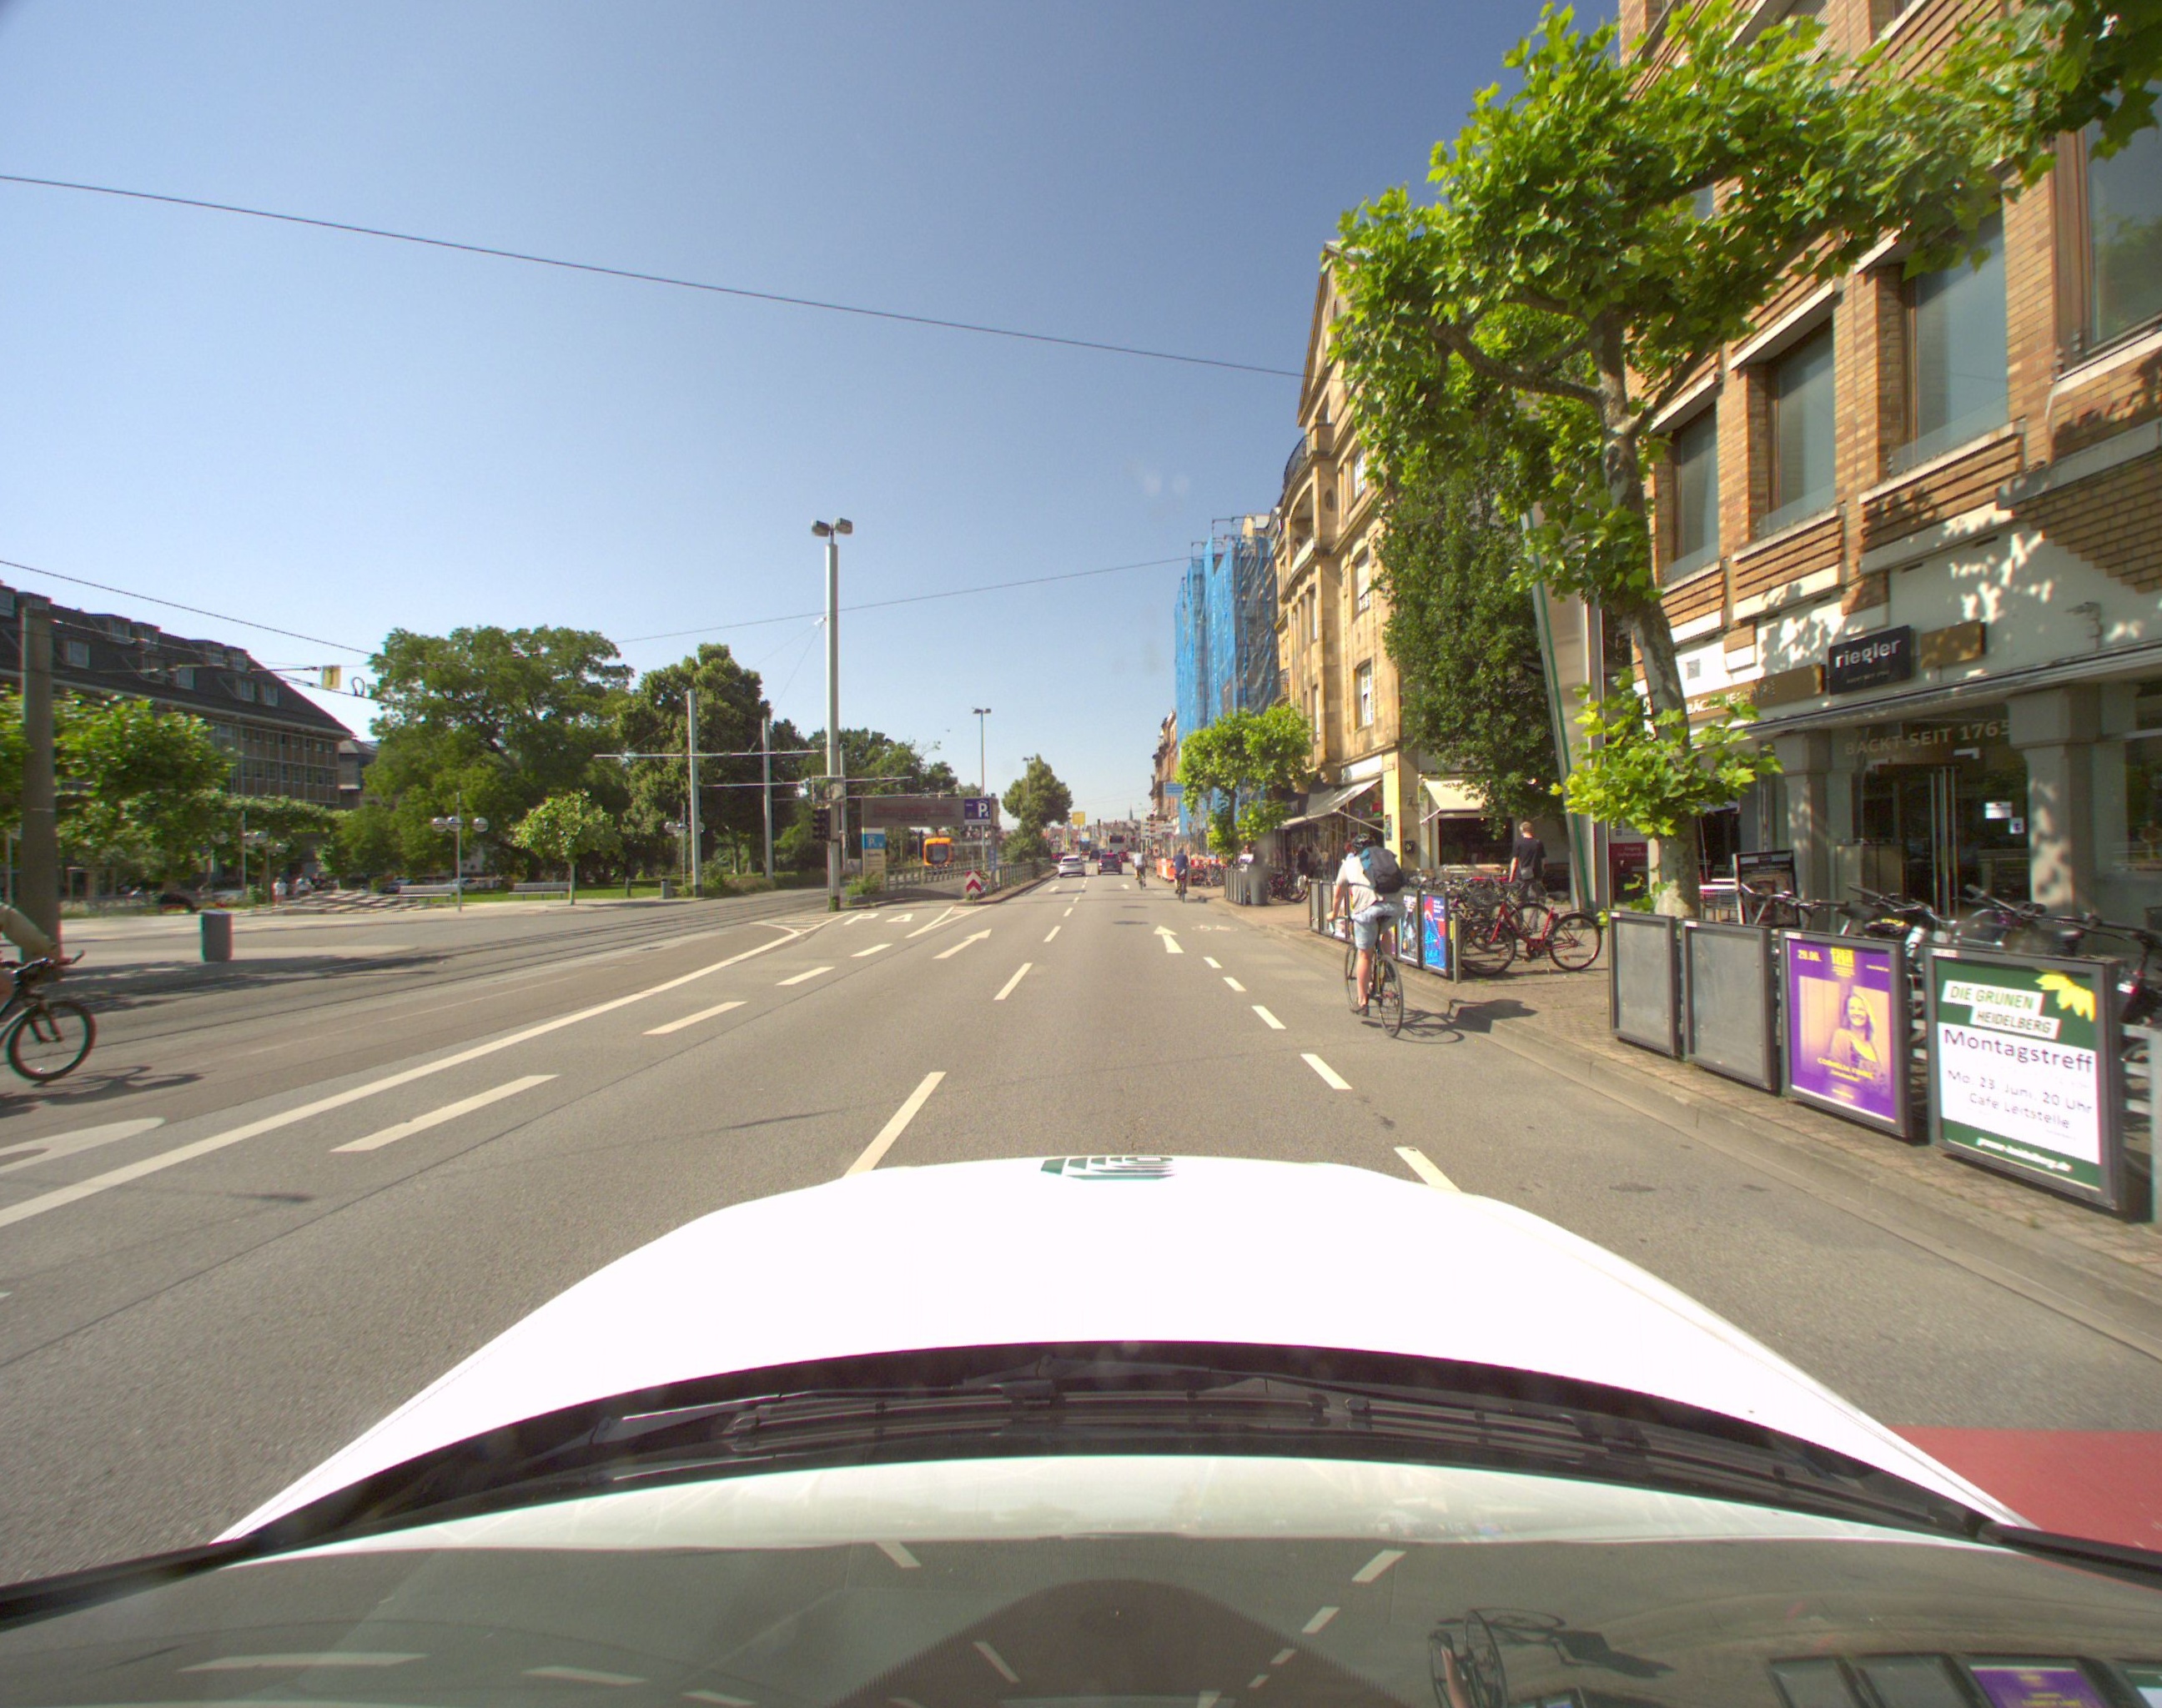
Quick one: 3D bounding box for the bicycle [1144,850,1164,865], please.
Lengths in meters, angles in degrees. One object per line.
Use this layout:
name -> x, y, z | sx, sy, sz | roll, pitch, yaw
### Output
bicycle -> 6.434, 0.312, 71.662 | 1.687, 1.241, 0.609 | 0, 0, 1

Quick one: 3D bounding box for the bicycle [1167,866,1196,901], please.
bicycle -> 3.284, 0.945, 26.689 | 0.731, 1.093, 1.911 | 0, 0, 0

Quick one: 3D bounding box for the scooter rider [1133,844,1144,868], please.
scooter rider -> 4.090, 0.134, 58.131 | 0.686, 1.729, 0.778 | 0, 0, 0

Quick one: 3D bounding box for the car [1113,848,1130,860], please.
car -> 5.022, 0.024, 100.691 | 1.985, 1.492, 4.003 | 0, 0, 2

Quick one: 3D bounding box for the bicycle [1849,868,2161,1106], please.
bicycle -> 5.193, 0.672, 4.340 | 1.747, 1.147, 0.483 | -1, 0, -1

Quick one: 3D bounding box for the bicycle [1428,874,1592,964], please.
bicycle -> 5.212, 0.779, 9.941 | 1.747, 1.018, 0.483 | -1, 0, -1

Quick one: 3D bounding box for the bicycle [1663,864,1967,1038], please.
bicycle -> 5.218, 0.668, 5.835 | 1.747, 1.147, 0.483 | -1, 0, -1

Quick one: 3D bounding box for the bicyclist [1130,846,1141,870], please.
bicyclist -> 3.665, 0.240, 54.529 | 0.686, 1.576, 1.049 | 0, 0, 0

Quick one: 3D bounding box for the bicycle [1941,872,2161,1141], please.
bicycle -> 5.177, 0.668, 3.836 | 1.747, 1.147, 0.483 | -1, 0, -1

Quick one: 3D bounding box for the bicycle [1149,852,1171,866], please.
bicycle -> 6.520, 0.392, 67.215 | 1.764, 1.178, 0.609 | 0, 0, 1

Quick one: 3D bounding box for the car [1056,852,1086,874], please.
car -> -0.670, 0.614, 56.922 | 1.851, 1.507, 4.003 | 0, 0, 2

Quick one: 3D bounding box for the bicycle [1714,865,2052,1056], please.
bicycle -> 5.207, 0.669, 5.337 | 1.747, 1.147, 0.483 | -1, 0, -1

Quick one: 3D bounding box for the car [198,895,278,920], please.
car -> -60.307, 3.790, 58.363 | 1.752, 1.508, 3.994 | 0, 0, -4

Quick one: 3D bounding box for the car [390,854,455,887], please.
car -> -67.017, 1.632, 83.068 | 2.119, 3.316, 5.421 | 0, 0, 1

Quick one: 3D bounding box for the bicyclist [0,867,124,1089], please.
bicyclist -> -8.446, 0.956, 6.315 | 0.814, 1.621, 0.903 | -5, 1, 1

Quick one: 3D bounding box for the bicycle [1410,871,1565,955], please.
bicycle -> 5.209, 0.744, 10.485 | 1.747, 1.018, 0.482 | -1, -1, -1

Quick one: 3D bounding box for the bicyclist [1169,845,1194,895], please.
bicyclist -> 3.280, 0.515, 26.668 | 0.686, 1.616, 0.918 | 0, 0, 0

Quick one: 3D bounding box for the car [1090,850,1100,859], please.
car -> 2.028, 0.089, 116.612 | 1.447, 1.300, 3.342 | 0, 0, 1

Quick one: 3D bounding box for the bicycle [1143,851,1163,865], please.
bicycle -> 6.447, 0.358, 72.819 | 1.687, 1.178, 0.491 | 0, 0, 1

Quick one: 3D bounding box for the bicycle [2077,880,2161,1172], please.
bicycle -> 5.165, 0.673, 3.272 | 1.747, 1.147, 0.483 | -1, 0, -1

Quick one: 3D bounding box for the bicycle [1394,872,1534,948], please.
bicycle -> 5.293, 0.767, 11.287 | 1.712, 0.985, 0.483 | -1, 0, -1

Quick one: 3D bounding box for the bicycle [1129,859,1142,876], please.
bicycle -> 3.652, 0.911, 54.565 | 0.731, 1.093, 1.898 | 0, 0, 1

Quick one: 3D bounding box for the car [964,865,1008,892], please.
car -> -5.691, 1.466, 49.311 | 1.985, 1.508, 4.003 | 0, 0, 2

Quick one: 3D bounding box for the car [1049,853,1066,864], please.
car -> -2.907, 0.569, 101.125 | 1.808, 1.332, 4.003 | 0, 0, 2

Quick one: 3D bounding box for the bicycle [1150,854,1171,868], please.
bicycle -> 6.431, 0.544, 65.777 | 1.687, 1.087, 0.609 | 0, 0, 1

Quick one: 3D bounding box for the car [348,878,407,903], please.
car -> -61.611, 3.197, 71.390 | 1.986, 2.013, 3.645 | 0, 0, 1

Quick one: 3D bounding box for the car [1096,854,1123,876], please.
car -> 2.058, 0.750, 58.829 | 1.866, 1.492, 4.003 | 0, 0, 2

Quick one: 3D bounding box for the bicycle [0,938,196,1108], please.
bicycle -> -8.424, 1.347, 6.385 | 0.814, 1.120, 1.875 | -4, 0, 2

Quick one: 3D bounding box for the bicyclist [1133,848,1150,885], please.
bicyclist -> 2.664, 0.547, 35.885 | 0.686, 1.576, 1.049 | 0, 0, 0

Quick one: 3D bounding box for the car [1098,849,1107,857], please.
car -> 3.991, -0.183, 150.304 | 1.446, 1.300, 3.344 | 0, 0, 2

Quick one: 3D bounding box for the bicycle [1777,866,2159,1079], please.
bicycle -> 5.207, 0.670, 4.829 | 1.747, 1.147, 0.483 | -1, 0, -1

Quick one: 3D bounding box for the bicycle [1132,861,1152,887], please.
bicycle -> 2.671, 0.886, 35.874 | 0.731, 1.093, 1.898 | 0, 0, 0

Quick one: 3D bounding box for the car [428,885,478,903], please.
car -> -59.147, 3.752, 76.778 | 1.752, 1.508, 3.994 | 0, 0, -4

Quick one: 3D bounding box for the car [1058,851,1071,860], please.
car -> -2.288, 0.204, 113.701 | 1.446, 1.300, 4.003 | 0, 0, 3

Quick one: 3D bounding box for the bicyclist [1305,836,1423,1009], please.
bicyclist -> 2.548, 0.576, 7.459 | 0.686, 1.463, 1.143 | 0, 0, 0

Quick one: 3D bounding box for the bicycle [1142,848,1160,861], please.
bicycle -> 6.576, 0.058, 76.601 | 1.687, 1.178, 0.609 | -2, 1, 1

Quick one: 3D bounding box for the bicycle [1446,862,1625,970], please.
bicycle -> 5.136, 0.690, 9.247 | 1.747, 1.147, 0.483 | -1, 0, -1
